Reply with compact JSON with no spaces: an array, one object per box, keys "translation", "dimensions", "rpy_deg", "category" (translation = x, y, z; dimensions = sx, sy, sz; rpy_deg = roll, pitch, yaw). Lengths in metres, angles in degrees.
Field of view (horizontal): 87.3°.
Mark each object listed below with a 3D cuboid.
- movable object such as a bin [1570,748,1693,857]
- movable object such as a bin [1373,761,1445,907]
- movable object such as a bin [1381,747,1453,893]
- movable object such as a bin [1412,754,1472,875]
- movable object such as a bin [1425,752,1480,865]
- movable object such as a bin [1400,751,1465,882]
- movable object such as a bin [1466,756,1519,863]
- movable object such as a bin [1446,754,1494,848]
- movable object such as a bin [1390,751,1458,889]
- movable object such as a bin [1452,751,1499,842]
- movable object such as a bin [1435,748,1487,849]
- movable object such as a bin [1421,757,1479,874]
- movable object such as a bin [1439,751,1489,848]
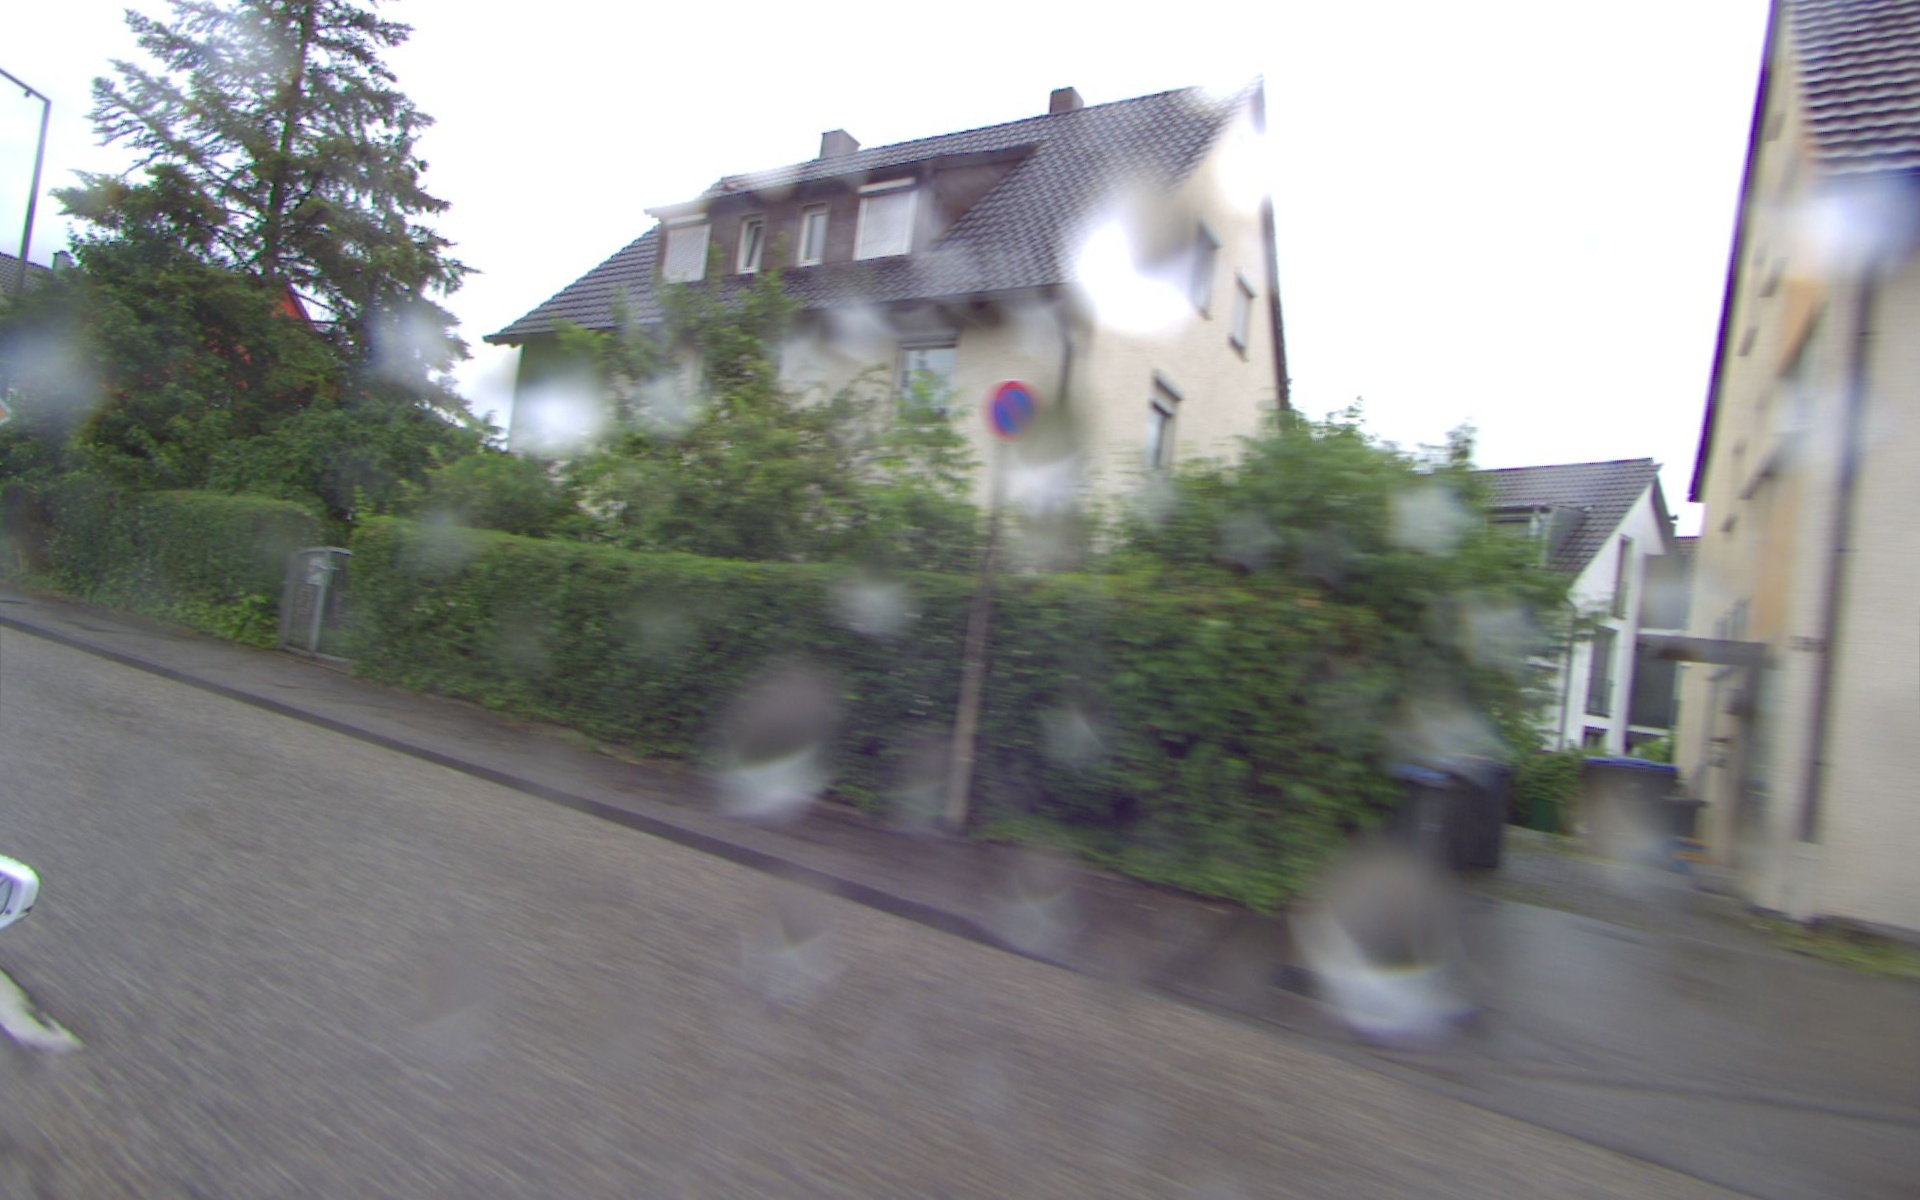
[{"translation":[9.952,2.996,14.965],"dimensions":[1.369,1.328,0.877],"rpy_deg":[6,-7,32],"category":"movable object such as a bin"},{"translation":[3.172,1.633,7.102],"dimensions":[0.322,0.927,0.367],"rpy_deg":[7,-1,31],"category":"movable object such as a bin"},{"translation":[3.440,1.634,7.562],"dimensions":[0.350,0.998,0.367],"rpy_deg":[7,-1,31],"category":"movable object such as a bin"},{"translation":[4.345,1.920,9.067],"dimensions":[0.350,0.998,0.367],"rpy_deg":[7,-1,31],"category":"movable object such as a bin"},{"translation":[4.760,2.003,9.717],"dimensions":[0.350,0.998,0.367],"rpy_deg":[7,-1,31],"category":"movable object such as a bin"},{"translation":[3.948,1.791,8.400],"dimensions":[0.350,0.998,0.367],"rpy_deg":[7,-1,31],"category":"movable object such as a bin"},{"translation":[5.408,2.113,10.217],"dimensions":[0.350,0.998,0.367],"rpy_deg":[7,-1,31],"category":"movable object such as a bin"},{"translation":[6.264,2.456,12.346],"dimensions":[0.391,1.048,0.421],"rpy_deg":[7,-1,31],"category":"movable object such as a bin"},{"translation":[3.682,1.725,7.979],"dimensions":[0.350,0.998,0.367],"rpy_deg":[7,-1,31],"category":"movable object such as a bin"},{"translation":[6.506,2.464,12.690],"dimensions":[0.391,1.048,0.421],"rpy_deg":[7,-1,31],"category":"movable object such as a bin"},{"translation":[5.706,2.248,11.457],"dimensions":[0.391,1.048,0.421],"rpy_deg":[7,-1,31],"category":"movable object such as a bin"},{"translation":[4.582,2.002,9.399],"dimensions":[0.350,0.998,0.367],"rpy_deg":[7,-1,31],"category":"movable object such as a bin"},{"translation":[5.967,2.349,11.900],"dimensions":[0.391,1.048,0.421],"rpy_deg":[7,-1,31],"category":"movable object such as a bin"}]
